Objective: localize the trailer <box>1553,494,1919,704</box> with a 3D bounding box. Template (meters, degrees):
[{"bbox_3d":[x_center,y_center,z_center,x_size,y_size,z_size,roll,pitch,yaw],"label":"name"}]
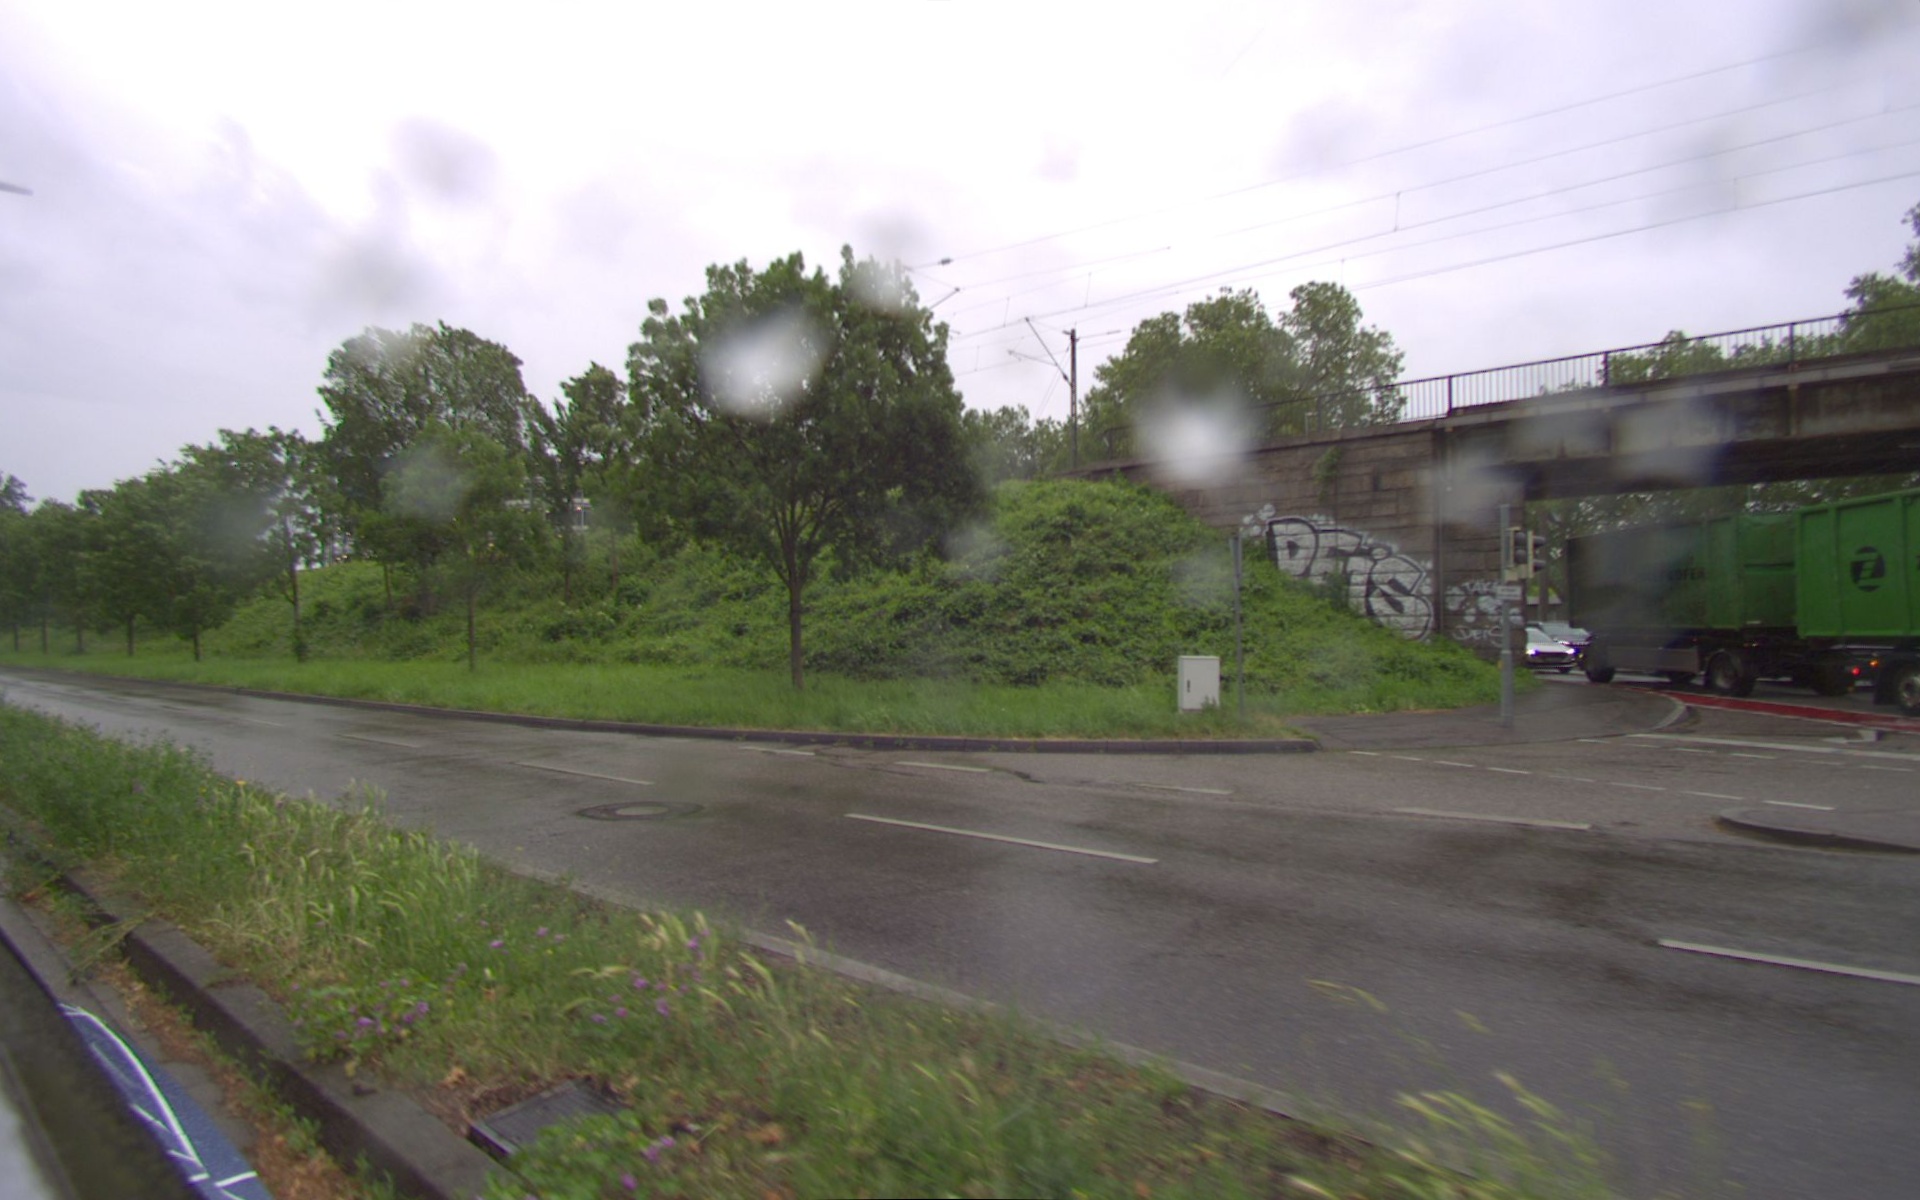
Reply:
[{"bbox_3d":[17.558,0.115,23.778,2.655,4.017,8.508,-1,-2,4],"label":"trailer"}]

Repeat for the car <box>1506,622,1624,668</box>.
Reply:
[{"bbox_3d":[21.837,1.628,36.724,1.974,1.586,3.996,-1,-2,3],"label":"car"}]

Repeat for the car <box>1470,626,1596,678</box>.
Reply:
[{"bbox_3d":[18.656,1.685,33.184,1.974,1.586,3.996,-1,-2,3],"label":"car"}]

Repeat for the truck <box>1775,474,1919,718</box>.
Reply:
[{"bbox_3d":[16.925,-0.148,14.493,2.653,3.979,10.181,-1,-2,4],"label":"truck"}]
